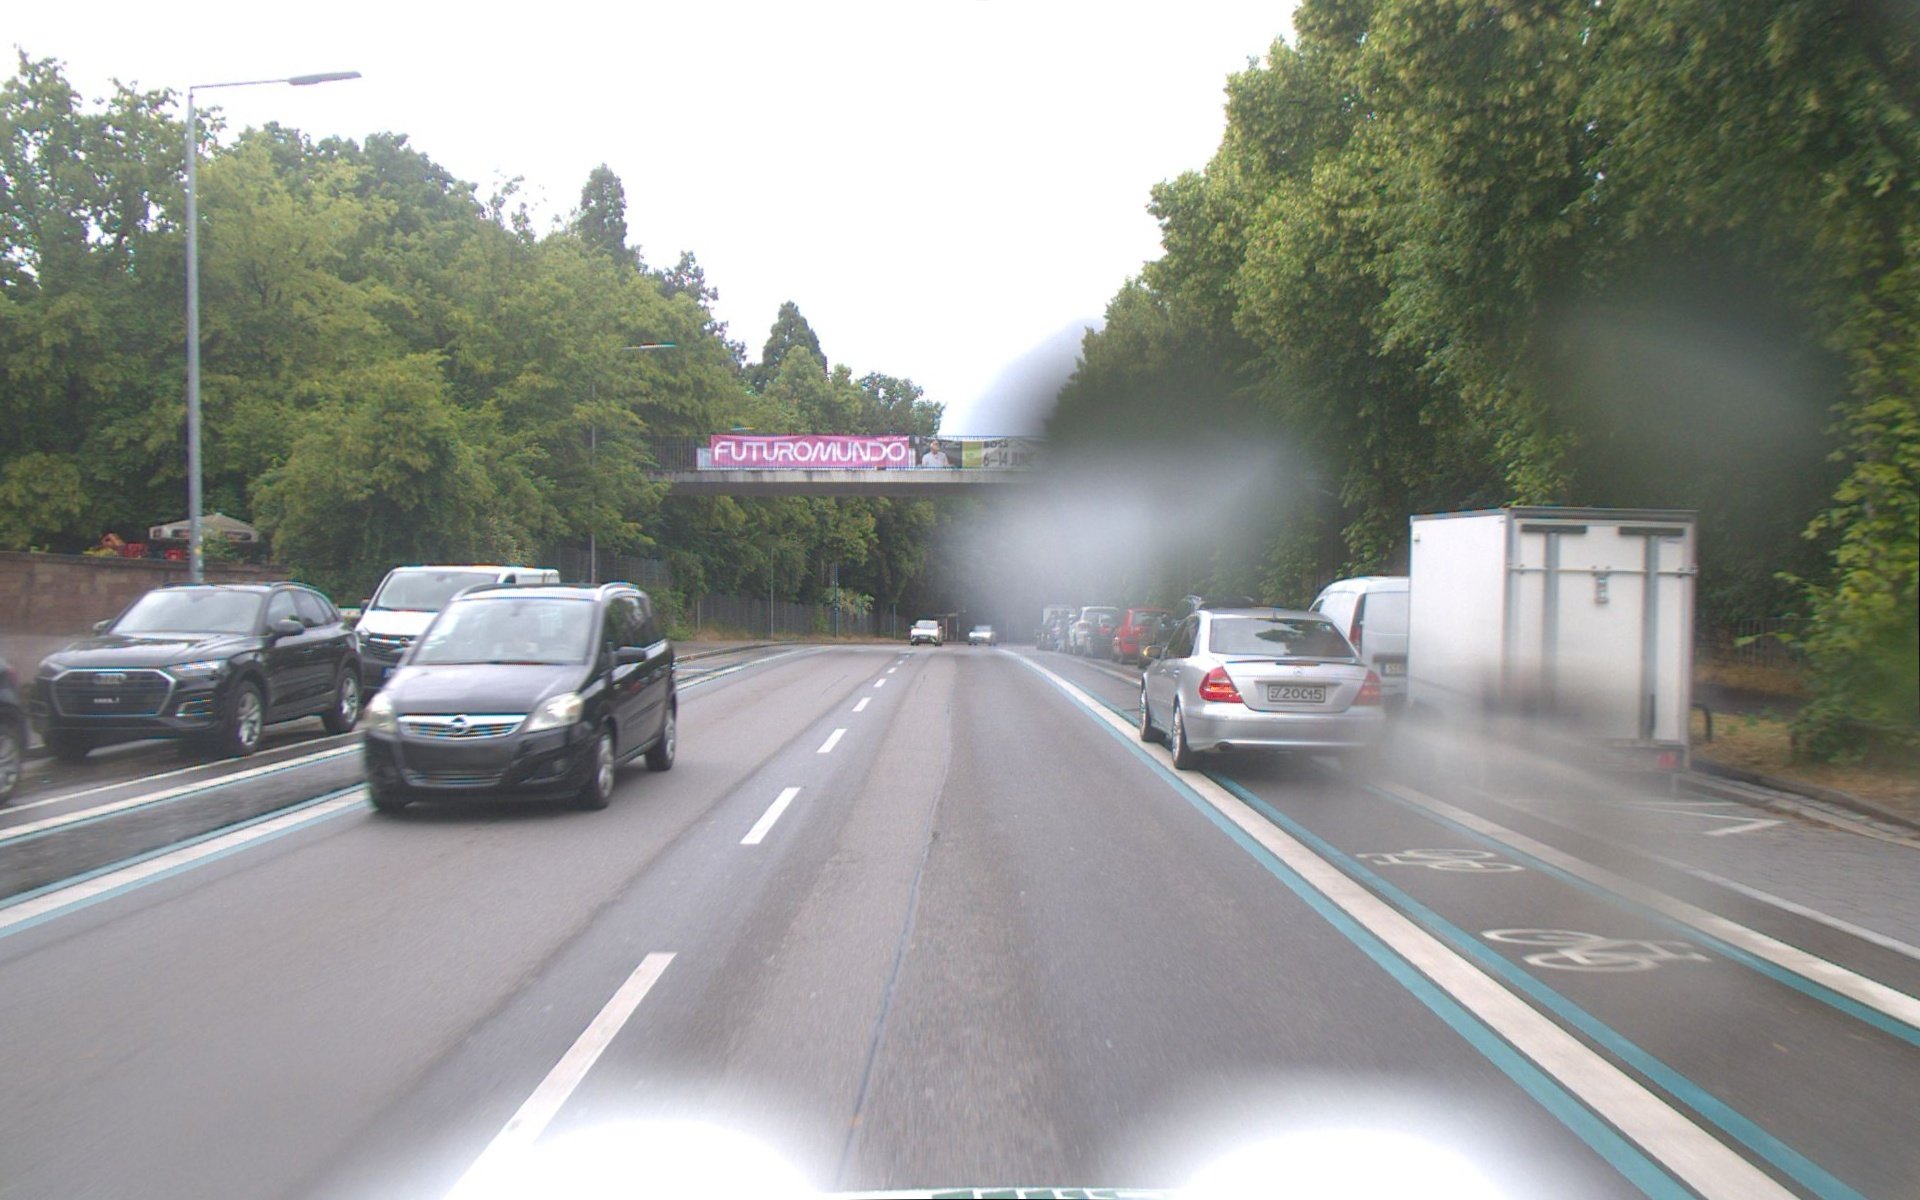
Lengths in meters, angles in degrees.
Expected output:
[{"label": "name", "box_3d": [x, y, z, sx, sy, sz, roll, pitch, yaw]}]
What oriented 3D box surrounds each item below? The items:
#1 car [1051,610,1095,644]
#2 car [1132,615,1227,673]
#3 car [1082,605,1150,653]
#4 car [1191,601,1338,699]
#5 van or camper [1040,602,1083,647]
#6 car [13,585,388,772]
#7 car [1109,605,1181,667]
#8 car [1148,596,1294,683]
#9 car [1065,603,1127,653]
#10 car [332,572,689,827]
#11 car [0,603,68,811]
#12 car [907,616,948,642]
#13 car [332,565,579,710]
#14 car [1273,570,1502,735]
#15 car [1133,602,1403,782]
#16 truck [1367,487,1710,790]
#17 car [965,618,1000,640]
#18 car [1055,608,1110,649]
[{"label": "car", "box_3d": [4.932, 1.219, 72.875, 1.738, 1.372, 4.466, 1, -2, 2]}, {"label": "car", "box_3d": [5.121, 1.003, 39.020, 1.593, 1.210, 4.182, 1, 0, -1]}, {"label": "car", "box_3d": [4.828, 0.931, 51.520, 1.638, 1.418, 4.449, 1, -2, -1]}, {"label": "car", "box_3d": [4.996, 0.767, 27.689, 1.625, 1.451, 4.618, 1, 0, 0]}, {"label": "van or camper", "box_3d": [6.448, 1.573, 104.162, 2.267, 2.711, 6.386, 1, -1, 7]}, {"label": "car", "box_3d": [-7.625, 0.679, 17.194, 1.787, 1.644, 4.662, -1, 1, -1]}, {"label": "car", "box_3d": [4.988, 0.949, 44.906, 1.527, 1.492, 3.626, 1, 1, 0]}, {"label": "car", "box_3d": [5.140, 0.731, 33.245, 1.954, 1.587, 4.640, 1, 0, -3]}, {"label": "car", "box_3d": [4.688, 0.991, 57.338, 1.679, 1.647, 4.259, 1, -1, -2]}, {"label": "car", "box_3d": [-3.322, 0.624, 13.060, 1.676, 1.646, 4.150, -2, 1, -1]}, {"label": "car", "box_3d": [-7.643, 0.795, 10.682, 1.575, 1.471, 4.038, -1, 1, 0]}, {"label": "car", "box_3d": [-1.958, 1.771, 101.727, 1.930, 1.579, 3.873, 1, -1, 8]}, {"label": "car", "box_3d": [-7.392, 0.467, 24.879, 1.937, 1.948, 5.229, 0, 1, 2]}, {"label": "car", "box_3d": [5.179, 0.576, 20.626, 1.687, 1.822, 4.345, 1, 0, 0]}, {"label": "car", "box_3d": [2.785, 0.763, 15.953, 1.686, 1.422, 4.590, 1, 0, -1]}, {"label": "truck", "box_3d": [5.080, 0.295, 15.104, 1.684, 2.374, 4.000, 1, 0, -1]}, {"label": "car", "box_3d": [1.773, 2.272, 129.441, 1.758, 1.604, 4.104, 0, -2, 15]}, {"label": "car", "box_3d": [4.620, 1.102, 62.962, 1.683, 1.400, 4.557, 1, -3, -1]}]
